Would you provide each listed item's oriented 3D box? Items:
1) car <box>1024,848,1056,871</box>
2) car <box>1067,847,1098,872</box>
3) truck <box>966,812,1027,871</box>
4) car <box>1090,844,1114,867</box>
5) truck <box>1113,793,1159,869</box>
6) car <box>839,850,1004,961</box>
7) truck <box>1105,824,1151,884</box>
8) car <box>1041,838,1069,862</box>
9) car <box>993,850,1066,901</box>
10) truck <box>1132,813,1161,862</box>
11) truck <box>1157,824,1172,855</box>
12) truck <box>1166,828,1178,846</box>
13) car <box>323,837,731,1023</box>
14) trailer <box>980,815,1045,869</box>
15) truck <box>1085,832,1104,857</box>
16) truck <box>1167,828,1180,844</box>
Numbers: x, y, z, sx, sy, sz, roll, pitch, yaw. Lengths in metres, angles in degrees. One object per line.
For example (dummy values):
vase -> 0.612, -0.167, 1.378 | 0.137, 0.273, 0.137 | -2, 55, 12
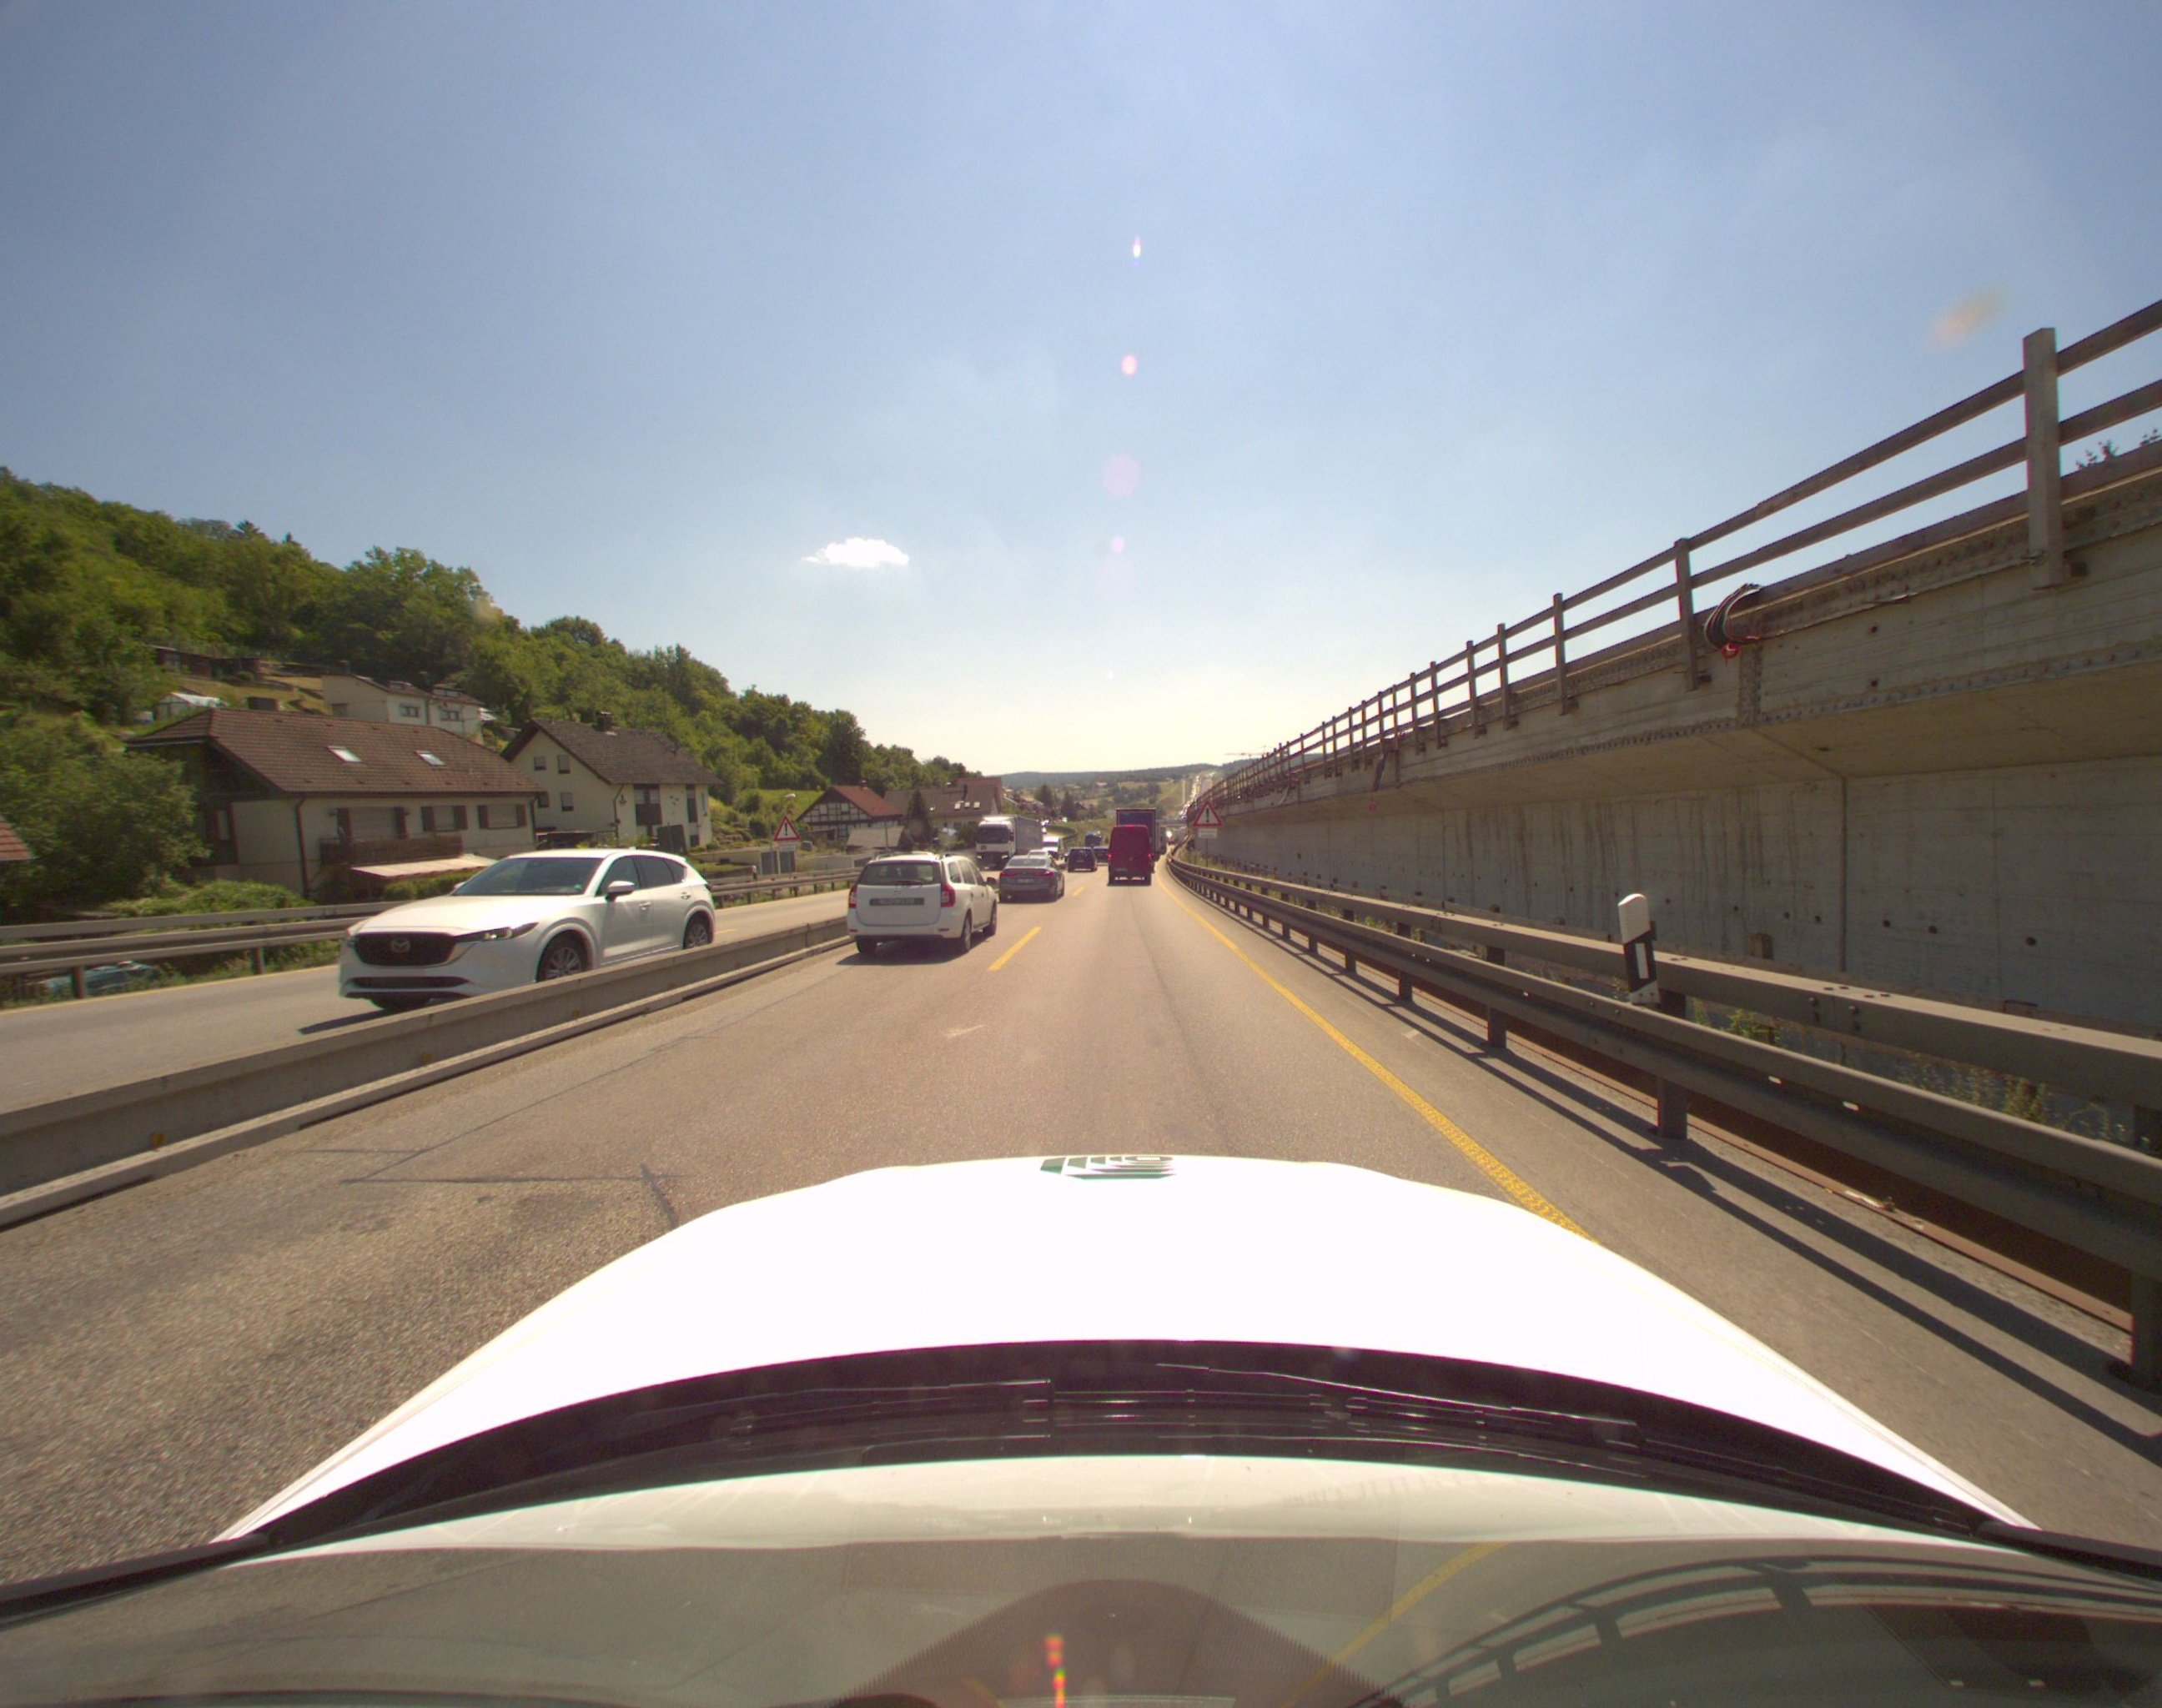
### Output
car -> -2.914, 0.344, 58.521 | 1.663, 1.535, 4.197 | -1, 0, 5
car -> 0.140, 0.371, 54.749 | 1.802, 1.608, 3.723 | -1, -1, 4
truck -> -6.243, -0.913, 61.203 | 3.120, 4.079, 6.890 | -1, 0, 6
car -> 1.756, 0.168, 67.124 | 1.721, 1.838, 4.004 | -1, -1, 4
truck -> 3.994, -1.422, 57.264 | 2.772, 4.816, 9.700 | -1, -1, 6
car -> -2.461, 0.750, 13.651 | 1.645, 1.483, 4.269 | -3, -1, 3
truck -> 2.204, 0.025, 37.895 | 1.985, 2.578, 4.003 | -1, -1, 3
car -> -2.865, -0.462, 91.746 | 1.994, 2.603, 5.994 | -1, 0, 9
car -> -1.564, 0.655, 26.062 | 1.787, 1.485, 4.053 | -1, 0, 4
truck -> 7.053, -1.618, 86.658 | 2.772, 4.816, 9.700 | -1, -1, 6
truck -> 12.108, -2.036, 118.106 | 1.983, 4.381, 4.007 | -1, -1, 7
truck -> 24.178, -4.561, 216.732 | 3.053, 4.381, 8.573 | -1, -1, 7
car -> -6.092, 0.737, 9.749 | 1.743, 1.687, 4.389 | -1, -1, 2
trailer -> -5.479, -0.992, 68.159 | 3.119, 4.079, 11.839 | -1, 0, 6
truck -> 2.229, -1.465, 133.792 | 2.496, 3.965, 5.184 | -1, -1, 6
truck -> 27.125, -5.155, 238.251 | 3.449, 4.381, 8.573 | -1, -1, 7
